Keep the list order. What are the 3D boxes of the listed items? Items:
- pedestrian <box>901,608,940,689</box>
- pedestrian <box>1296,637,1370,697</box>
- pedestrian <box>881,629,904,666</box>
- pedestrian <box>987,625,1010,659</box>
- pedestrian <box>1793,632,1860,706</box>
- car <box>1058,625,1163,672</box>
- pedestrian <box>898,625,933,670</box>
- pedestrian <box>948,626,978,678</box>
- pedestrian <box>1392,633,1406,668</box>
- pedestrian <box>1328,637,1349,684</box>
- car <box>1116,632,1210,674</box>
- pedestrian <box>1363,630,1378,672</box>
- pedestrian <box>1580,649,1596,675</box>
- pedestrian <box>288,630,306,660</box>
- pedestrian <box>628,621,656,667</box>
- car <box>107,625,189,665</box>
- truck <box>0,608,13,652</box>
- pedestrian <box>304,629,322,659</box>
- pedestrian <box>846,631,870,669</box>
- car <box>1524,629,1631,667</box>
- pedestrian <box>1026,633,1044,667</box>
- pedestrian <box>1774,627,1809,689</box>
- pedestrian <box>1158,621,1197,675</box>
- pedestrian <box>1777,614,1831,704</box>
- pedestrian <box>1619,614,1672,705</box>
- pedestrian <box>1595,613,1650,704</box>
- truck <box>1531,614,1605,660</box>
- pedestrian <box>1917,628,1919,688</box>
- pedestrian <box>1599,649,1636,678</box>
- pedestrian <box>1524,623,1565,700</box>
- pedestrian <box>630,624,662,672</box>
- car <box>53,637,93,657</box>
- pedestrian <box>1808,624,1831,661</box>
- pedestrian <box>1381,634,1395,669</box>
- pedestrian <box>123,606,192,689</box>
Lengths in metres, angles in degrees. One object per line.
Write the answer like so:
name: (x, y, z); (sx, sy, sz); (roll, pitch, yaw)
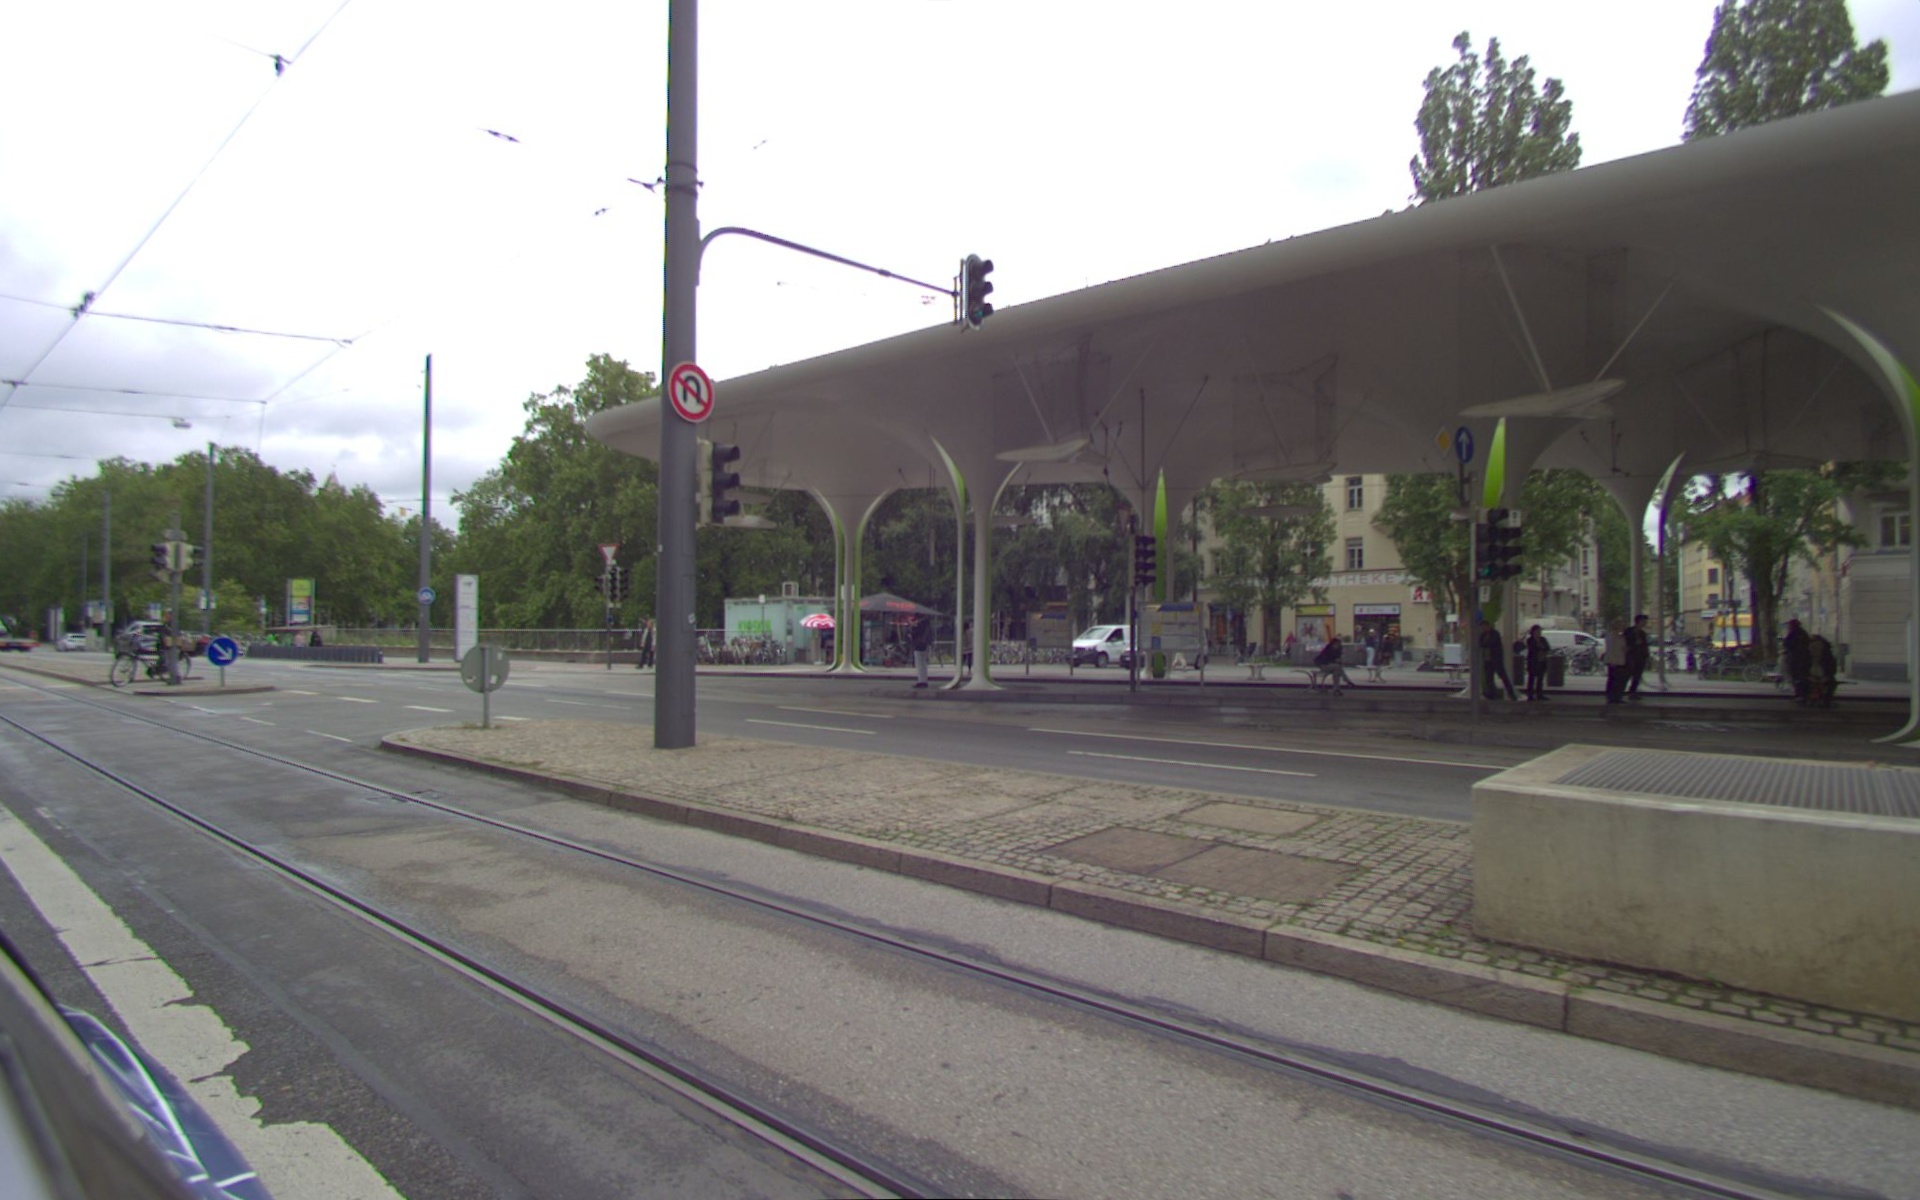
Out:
pedestrian: (-0.909, 1.122, 23.470); (0.801, 1.853, 0.664); (0, -2, 10)
pedestrian: (8.070, 1.427, 21.927); (0.799, 1.239, 1.274); (1, -2, -30)
pedestrian: (-2.979, 2.085, 44.525); (0.728, 1.612, 0.799); (1, -2, -34)
pedestrian: (2.202, 2.379, 57.533); (0.981, 1.881, 0.899); (-2, -2, 42)
pedestrian: (16.697, 1.309, 19.503); (0.951, 1.380, 0.842); (2, -2, -42)
car: (6.762, 2.134, 45.207); (4.851, 1.962, 1.874); (2, -2, -38)
pedestrian: (-1.776, 1.890, 40.419); (0.957, 1.776, 1.017); (-2, -3, 43)
pedestrian: (0.100, 1.642, 32.103); (0.830, 1.622, 0.745); (0, -2, 11)
pedestrian: (21.327, 2.450, 49.195); (0.457, 1.638, 0.575); (-2, 0, 38)
pedestrian: (16.682, 2.645, 44.624); (0.691, 2.029, 0.691); (-1, -2, 34)
car: (8.497, 2.176, 42.240); (3.937, 1.628, 1.834); (1, -2, -41)
pedestrian: (19.941, 2.473, 49.140); (0.457, 2.029, 0.575); (-2, 0, 38)
pedestrian: (26.066, 2.569, 42.002); (0.461, 1.091, 0.404); (1, -2, -35)
pedestrian: (-35.000, 2.368, 53.419); (0.588, 1.570, 0.624); (-2, -3, 40)
pedestrian: (-12.023, 1.649, 38.251); (0.725, 1.729, 0.862); (1, -2, -38)
car: (-35.934, 1.988, 44.747); (4.674, 1.651, 1.844); (-1, -4, 40)
truck: (-72.541, 2.192, 74.874); (7.684, 3.111, 2.540); (-2, -4, 40)
pedestrian: (-34.588, 2.358, 54.109); (0.588, 1.570, 0.624); (-2, -3, 40)
pedestrian: (-4.384, 2.121, 43.508); (0.728, 1.612, 0.799); (1, -2, -34)
car: (33.017, 2.538, 54.172); (4.790, 1.934, 1.977); (-1, -2, 34)
pedestrian: (3.616, 2.404, 48.652); (0.636, 1.594, 0.627); (-2, -2, 41)
pedestrian: (22.531, 1.558, 27.427); (0.639, 1.660, 0.596); (-1, -2, 34)
pedestrian: (8.248, 1.809, 38.397); (0.987, 2.029, 1.030); (1, -2, -33)
pedestrian: (17.526, 1.209, 21.010); (0.782, 1.802, 0.754); (-2, -2, 44)
pedestrian: (14.499, 1.238, 21.411); (0.876, 1.887, 0.705); (-1, -2, 34)
pedestrian: (13.018, 1.137, 19.909); (0.667, 1.741, 0.805); (0, -2, 17)
truck: (36.197, 2.188, 60.221); (5.269, 2.643, 2.295); (1, -2, -42)
pedestrian: (29.636, 1.782, 30.833); (0.549, 1.828, 0.556); (1, -2, -37)
pedestrian: (26.762, 2.572, 41.162); (1.810, 1.091, 0.618); (1, -2, -35)
pedestrian: (12.010, 1.247, 20.811); (0.633, 1.557, 0.589); (-1, -2, 24)
pedestrian: (-10.690, 1.626, 34.476); (0.737, 1.641, 0.734); (-1, -2, 20)
car: (-69.904, 3.686, 79.735); (3.998, 1.542, 1.868); (-2, -3, 42)
pedestrian: (41.505, 2.050, 48.896); (0.800, 1.797, 0.945); (-2, -2, 40)
pedestrian: (20.586, 2.468, 48.718); (0.457, 1.638, 0.575); (-2, 0, 38)
pedestrian: (-18.004, 1.050, 22.716); (0.890, 1.825, 0.856); (0, -1, 18)
